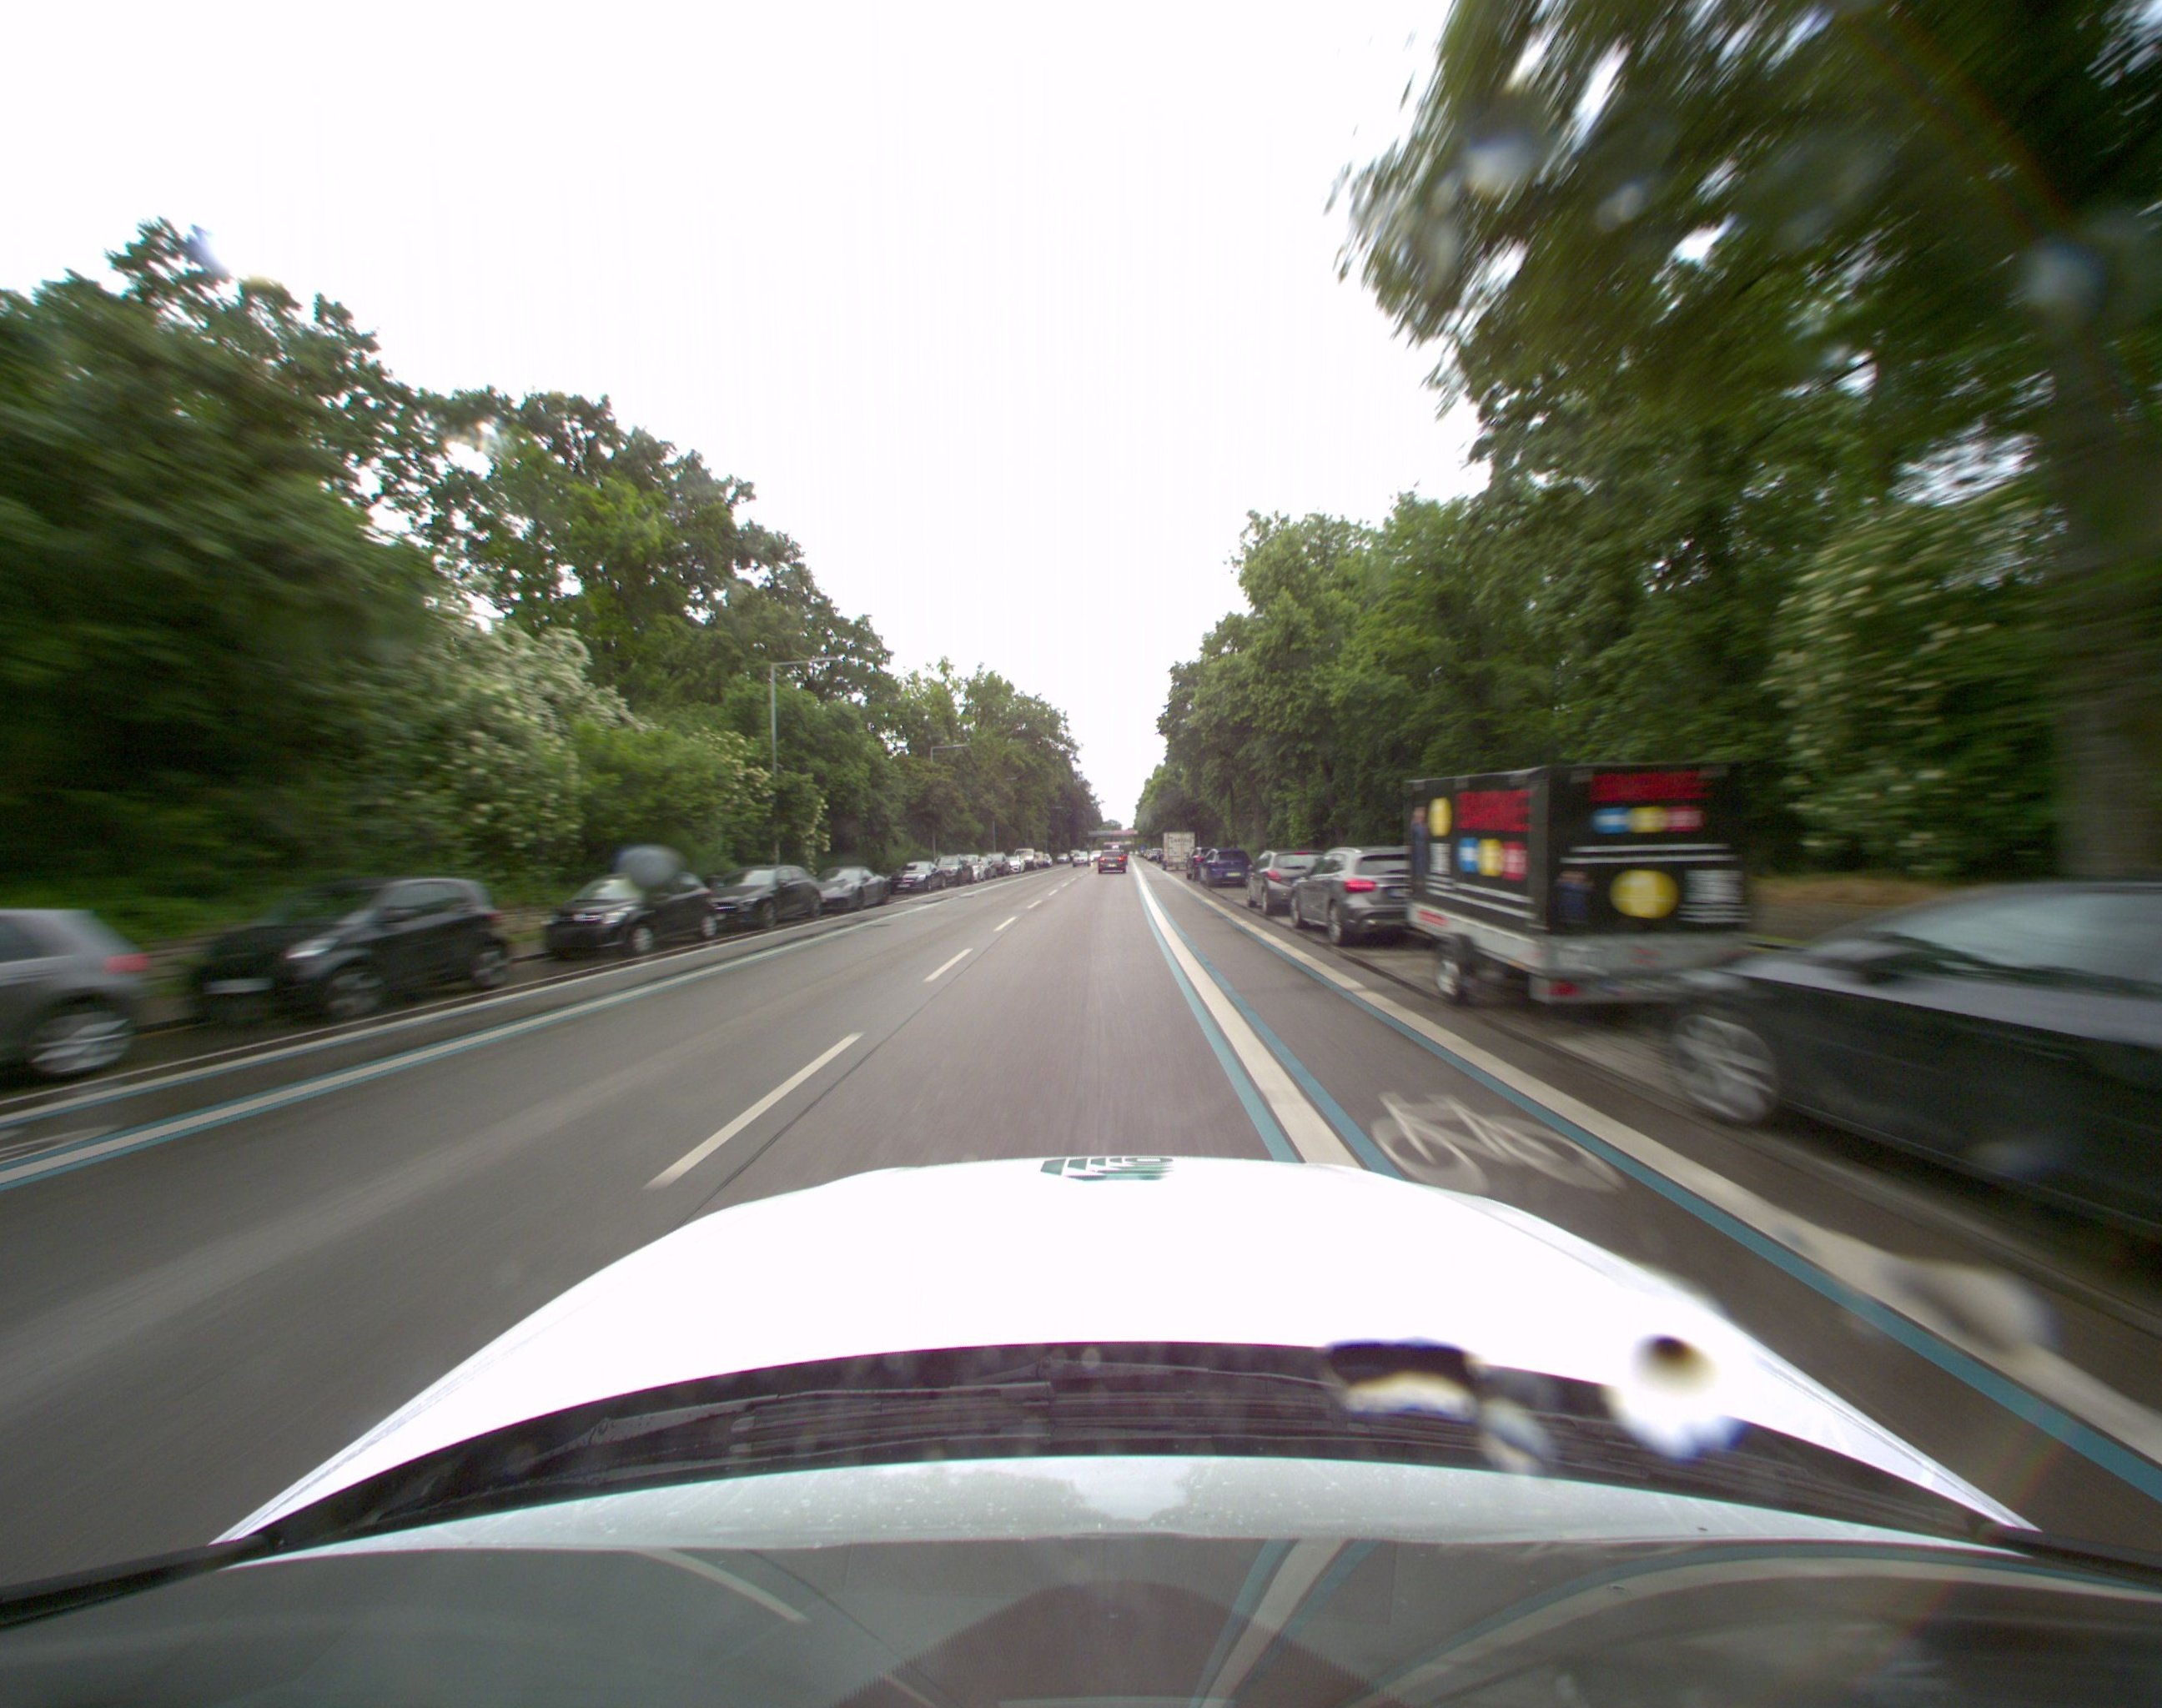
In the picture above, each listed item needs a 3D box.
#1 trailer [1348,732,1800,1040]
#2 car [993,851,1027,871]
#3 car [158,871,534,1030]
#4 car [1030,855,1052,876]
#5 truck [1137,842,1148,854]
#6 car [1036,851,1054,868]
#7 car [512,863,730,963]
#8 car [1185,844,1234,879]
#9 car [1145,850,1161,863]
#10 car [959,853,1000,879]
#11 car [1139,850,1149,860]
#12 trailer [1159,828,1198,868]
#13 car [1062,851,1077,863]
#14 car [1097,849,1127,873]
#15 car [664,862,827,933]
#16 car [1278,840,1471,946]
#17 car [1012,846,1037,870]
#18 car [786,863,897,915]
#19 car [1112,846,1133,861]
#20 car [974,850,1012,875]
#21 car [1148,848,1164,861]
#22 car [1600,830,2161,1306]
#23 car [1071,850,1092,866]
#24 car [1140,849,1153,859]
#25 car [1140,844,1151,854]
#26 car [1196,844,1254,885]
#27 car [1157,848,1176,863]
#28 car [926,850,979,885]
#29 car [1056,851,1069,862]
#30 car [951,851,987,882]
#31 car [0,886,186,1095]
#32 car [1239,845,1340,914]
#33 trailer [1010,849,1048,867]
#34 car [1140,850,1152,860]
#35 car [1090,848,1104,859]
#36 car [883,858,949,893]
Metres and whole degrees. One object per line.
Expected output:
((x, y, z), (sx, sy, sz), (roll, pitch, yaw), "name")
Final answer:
((4.441, 0.224, 8.433), (1.898, 2.247, 4.770), (-1, 0, 2), "trailer")
((-5.440, 0.499, 63.207), (1.985, 1.488, 4.472), (-1, 0, 3), "car")
((-8.669, 1.036, 9.997), (1.595, 1.510, 3.142), (-2, 0, 4), "car")
((-4.083, 1.194, 84.171), (1.933, 2.013, 4.740), (-2, 0, 0), "car")
((13.463, -1.286, 178.134), (2.104, 2.599, 4.305), (-2, 0, 3), "truck")
((-3.982, 0.612, 90.391), (1.569, 1.770, 3.418), (-2, 0, 3), "car")
((-8.409, 0.991, 15.341), (1.595, 1.510, 3.981), (-2, 0, 4), "car")
((5.856, 0.311, 37.551), (1.707, 1.512, 3.977), (-1, 0, 2), "car")
((9.555, 0.270, 108.044), (1.889, 1.606, 4.004), (-2, 0, 3), "car")
((-6.250, 0.714, 50.604), (1.801, 1.488, 4.470), (-1, 0, 2), "car")
((13.126, 0.212, 170.537), (1.985, 1.772, 4.003), (-3, -1, 3), "car")
((6.533, -0.420, 54.985), (2.125, 2.560, 4.297), (-2, 0, 1), "trailer")
((-1.985, 0.458, 143.075), (2.149, 2.013, 5.036), (-2, 0, 4), "car")
((1.923, 0.446, 51.664), (1.865, 1.441, 4.296), (0, -1, 1), "car")
((-8.028, 0.981, 19.980), (1.984, 1.452, 4.143), (-2, 0, 4), "car")
((4.717, 0.540, 13.820), (1.788, 1.450, 4.430), (-2, 0, 2), "car")
((-5.065, 0.320, 73.586), (1.933, 2.013, 4.740), (-2, 0, 0), "car")
((-7.138, 0.995, 24.787), (1.862, 1.304, 4.473), (-2, 0, 2), "car")
((4.118, -0.051, 81.316), (1.875, 1.466, 3.999), (0, 0, 0), "car")
((-6.053, 0.560, 56.727), (1.871, 1.561, 4.472), (-1, 0, 3), "car")
((9.520, 0.016, 103.422), (1.889, 1.606, 4.004), (-2, 0, 3), "car")
((4.277, 0.669, 3.192), (1.816, 1.485, 4.199), (0, 0, 0), "car")
((0.075, 0.367, 79.416), (1.691, 1.485, 4.038), (-3, 0, 3), "car")
((11.114, -0.030, 138.721), (1.985, 1.562, 4.004), (-2, 0, 3), "car")
((12.964, -0.999, 163.019), (1.986, 2.013, 4.002), (-1, 0, 2), "car")
((5.619, 0.349, 32.118), (1.675, 1.481, 4.321), (-1, 1, 2), "car")
((8.743, 0.134, 83.711), (1.715, 1.525, 4.004), (-2, 0, 3), "car")
((-6.373, 0.635, 40.756), (1.688, 1.584, 4.144), (-2, 0, 4), "car")
((-2.691, 0.309, 118.554), (1.666, 1.513, 3.632), (-1, 1, 2), "car")
((-6.205, 0.672, 45.246), (1.455, 1.571, 2.985), (-2, 0, 2), "car")
((-8.921, 1.086, 5.230), (1.674, 1.498, 4.149), (-3, 0, 0), "car")
((4.847, 0.539, 19.443), (1.608, 1.470, 4.004), (-1, 0, 3), "car")
((-4.989, 0.394, 78.539), (1.609, 1.628, 3.696), (-2, 0, 34), "trailer")
((10.680, 0.153, 133.939), (1.985, 1.562, 4.004), (-2, 0, 3), "car")
((2.293, -0.046, 116.920), (1.828, 1.517, 4.002), (-2, 0, 2), "car")
((-7.054, 0.892, 35.310), (1.688, 1.300, 4.197), (-2, 0, 4), "car")
